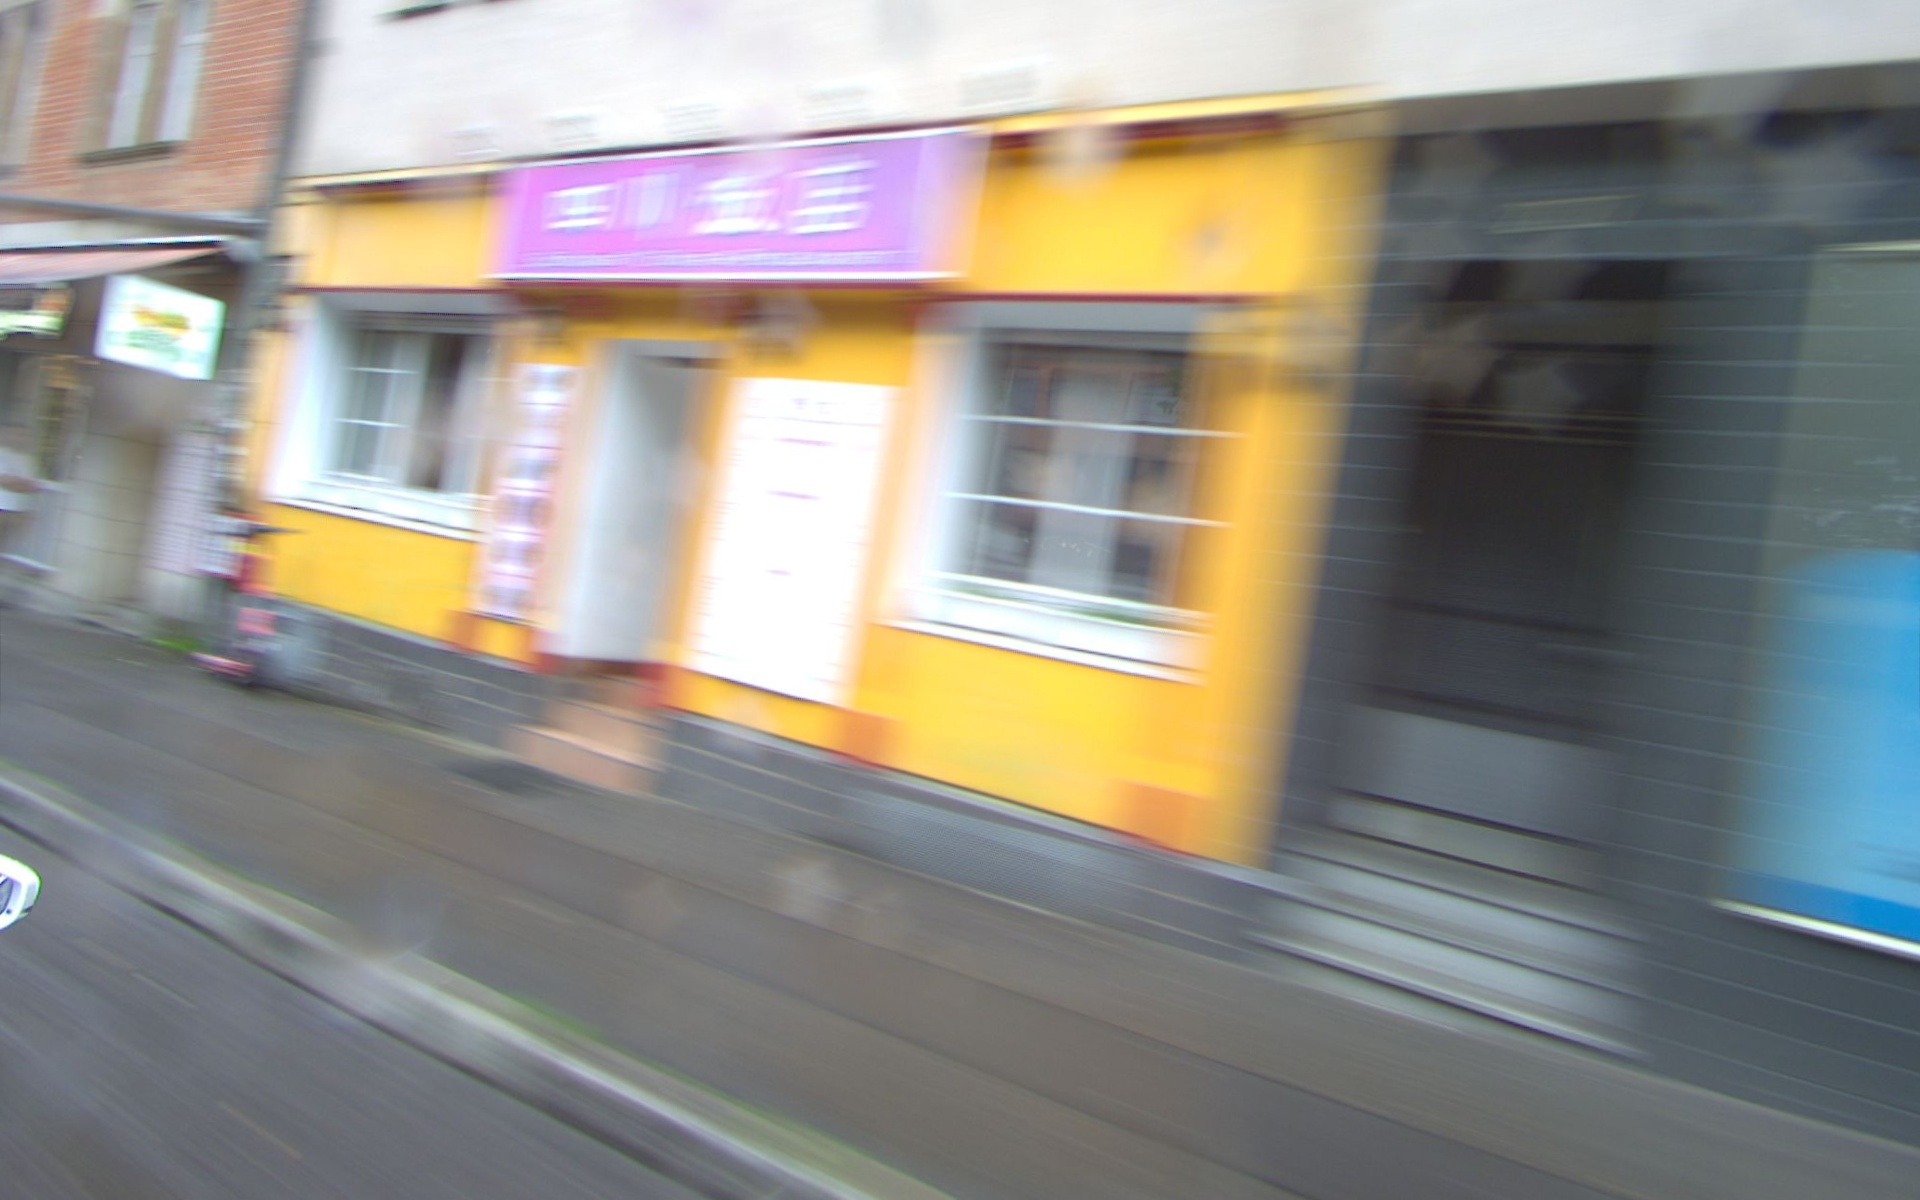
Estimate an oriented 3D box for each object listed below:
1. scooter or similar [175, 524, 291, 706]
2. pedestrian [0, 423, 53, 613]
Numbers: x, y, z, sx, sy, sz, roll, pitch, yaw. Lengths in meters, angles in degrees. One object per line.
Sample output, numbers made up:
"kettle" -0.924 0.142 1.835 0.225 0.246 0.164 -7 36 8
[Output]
"scooter or similar" -5.566 0.090 7.680 1.176 1.236 0.257 8 -1 38
"pedestrian" -9.673 -0.834 10.099 0.554 1.854 0.578 7 3 26
